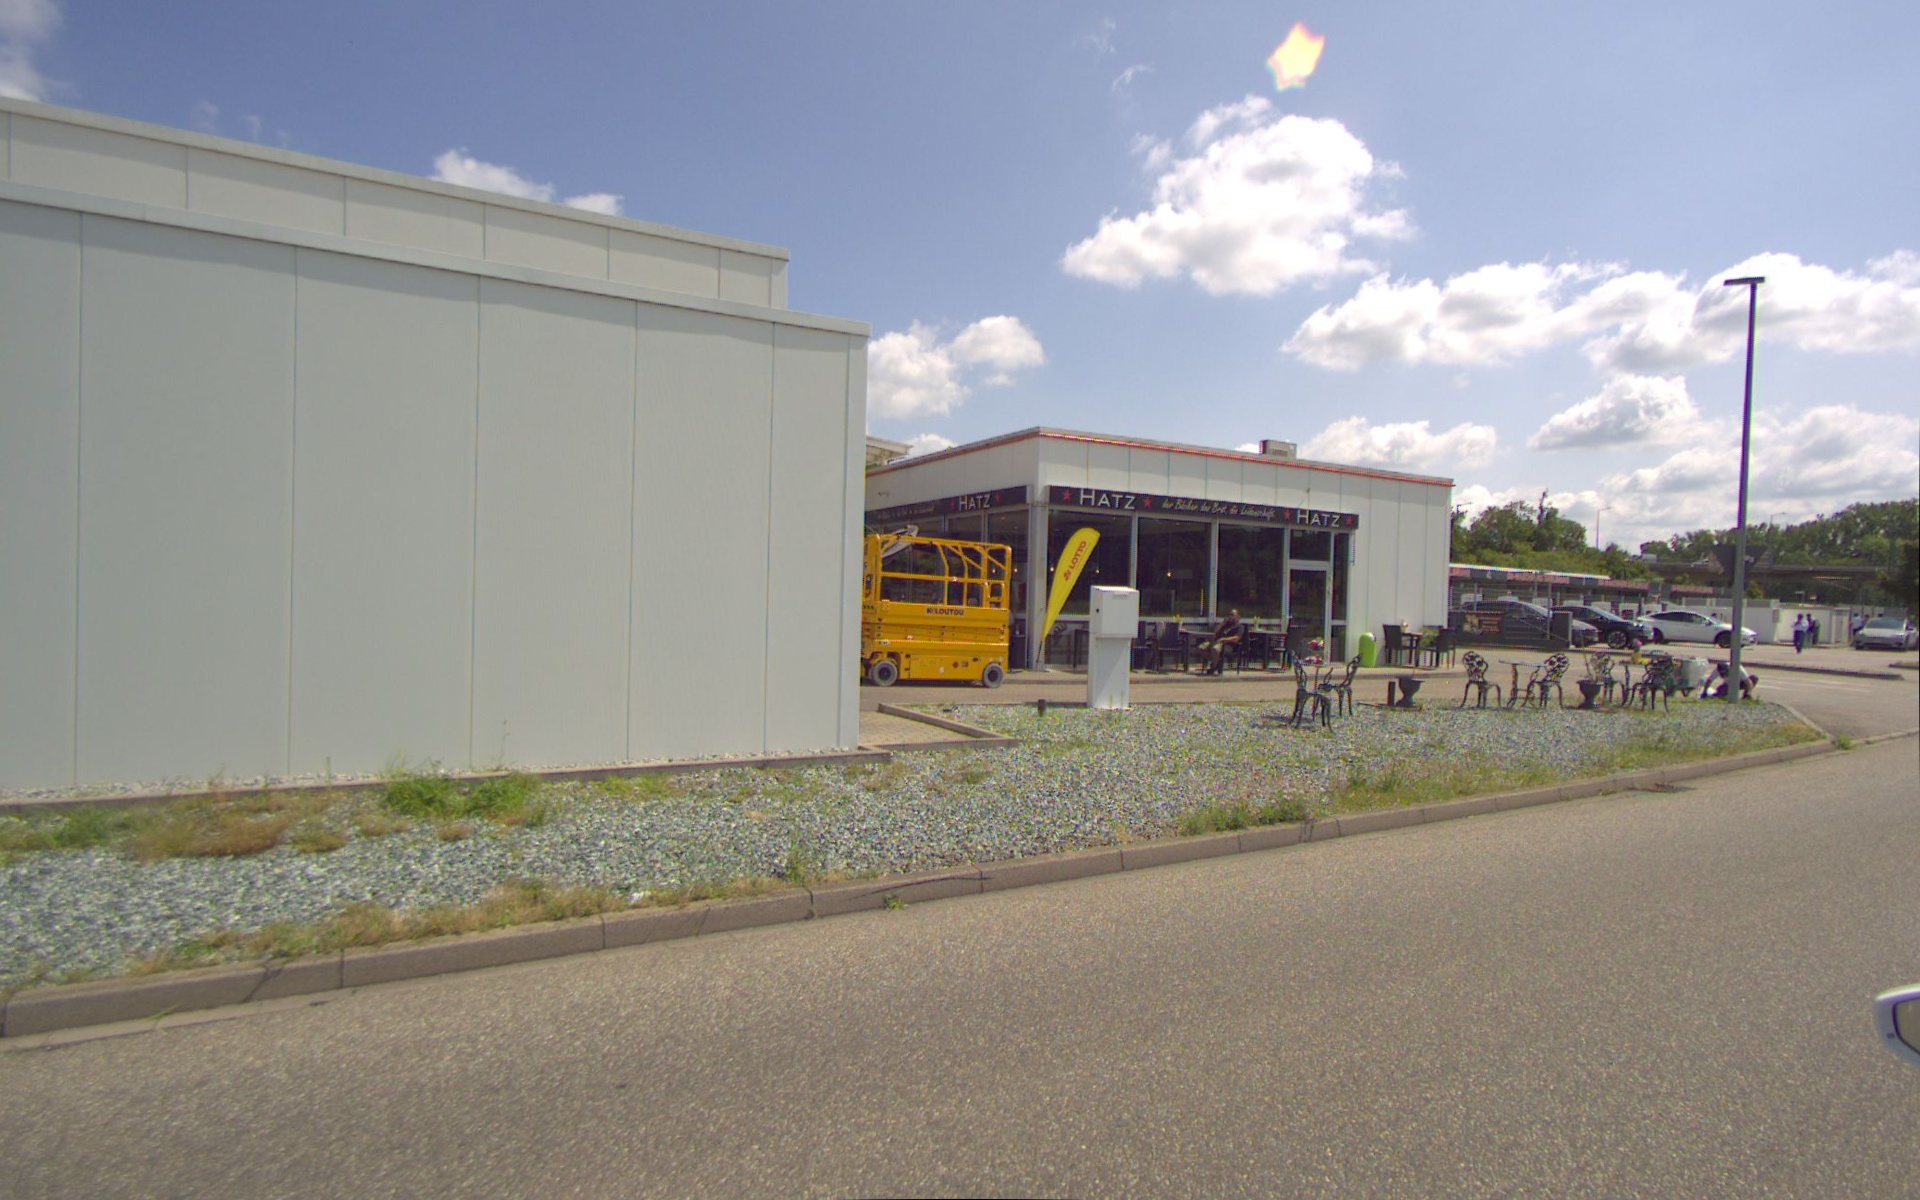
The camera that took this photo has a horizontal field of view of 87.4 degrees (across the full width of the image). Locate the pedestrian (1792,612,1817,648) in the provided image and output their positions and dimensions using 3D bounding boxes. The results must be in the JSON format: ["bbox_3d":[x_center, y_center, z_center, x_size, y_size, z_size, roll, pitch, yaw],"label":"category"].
[{"bbox_3d":[41.959,1.488,49.921,0.853,1.775,0.723,2,1,44],"label":"pedestrian"}]

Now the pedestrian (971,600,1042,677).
[{"bbox_3d":[0.838,0.678,18.179,0.928,1.325,0.860,2,1,44],"label":"pedestrian"}]

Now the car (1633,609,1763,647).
[{"bbox_3d":[34.384,1.283,46.886,1.984,1.544,4.512,2,0,-40],"label":"car"}]

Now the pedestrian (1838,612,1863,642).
[{"bbox_3d":[48.474,1.464,54.673,0.699,1.586,0.759,1,0,8],"label":"pedestrian"}]

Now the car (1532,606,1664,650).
[{"bbox_3d":[25.191,1.089,39.736,1.983,1.539,3.955,2,0,-39],"label":"car"}]

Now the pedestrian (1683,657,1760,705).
[{"bbox_3d":[13.945,1.473,18.393,0.808,0.770,0.858,1,2,-30],"label":"pedestrian"}]

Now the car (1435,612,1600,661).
[{"bbox_3d":[19.994,1.266,36.187,2.220,1.475,4.704,1,1,-40],"label":"car"}]

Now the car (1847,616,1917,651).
[{"bbox_3d":[46.882,1.665,51.048,4.733,1.538,1.915,-1,2,-38],"label":"car"}]

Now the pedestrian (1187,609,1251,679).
[{"bbox_3d":[4.927,0.830,19.139,0.887,1.273,0.750,1,1,-27],"label":"pedestrian"}]

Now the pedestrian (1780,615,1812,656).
[{"bbox_3d":[35.214,1.490,42.311,0.933,1.675,0.855,1,1,-41],"label":"pedestrian"}]

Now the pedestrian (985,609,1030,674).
[{"bbox_3d":[0.888,0.775,19.042,0.741,1.189,0.617,1,1,-7],"label":"pedestrian"}]

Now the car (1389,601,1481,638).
[{"bbox_3d":[21.482,0.887,45.372,4.257,1.502,1.903,2,0,-36],"label":"car"}]

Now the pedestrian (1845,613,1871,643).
[{"bbox_3d":[48.387,1.491,54.130,0.708,1.600,0.713,1,0,-1],"label":"pedestrian"}]

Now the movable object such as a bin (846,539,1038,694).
[{"bbox_3d":[-0.261,0.287,15.314,2.672,2.181,1.058,3,0,-29],"label":"movable object such as a bin"}]

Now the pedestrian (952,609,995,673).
[{"bbox_3d":[0.251,0.770,19.151,0.741,1.189,0.617,1,1,-7],"label":"pedestrian"}]

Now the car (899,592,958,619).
[{"bbox_3d":[-1.909,0.312,59.684,1.867,1.525,3.968,2,0,-30],"label":"car"}]
